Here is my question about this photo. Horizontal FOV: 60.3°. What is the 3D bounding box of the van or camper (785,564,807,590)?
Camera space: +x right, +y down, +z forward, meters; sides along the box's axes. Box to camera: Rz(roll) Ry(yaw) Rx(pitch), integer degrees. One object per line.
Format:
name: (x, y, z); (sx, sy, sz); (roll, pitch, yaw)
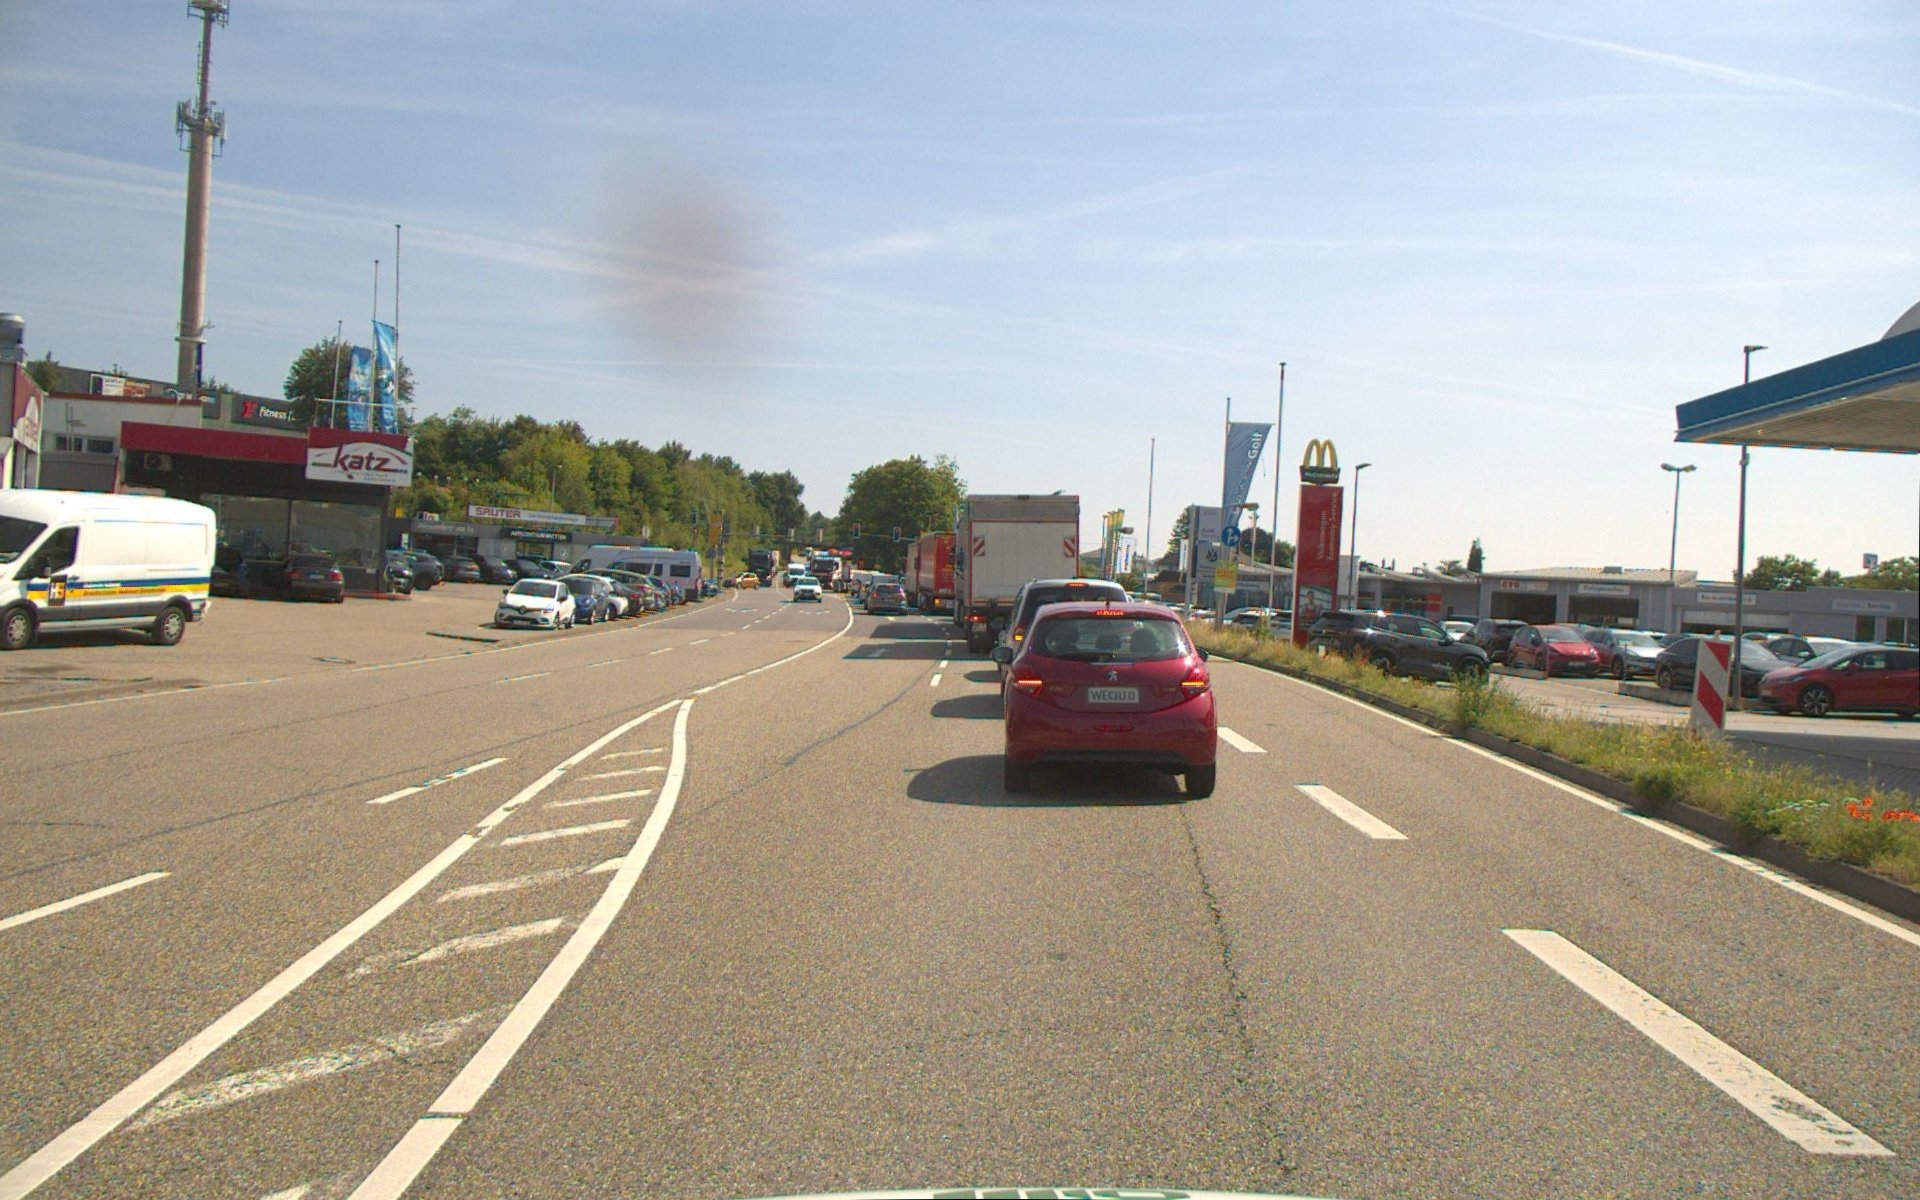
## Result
van or camper: (-17.319, -2.404, 174.432); (2.131, 2.595, 4.167); (3, 1, -5)

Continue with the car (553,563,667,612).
car: (-14.151, -0.518, 67.086); (4.196, 1.510, 1.834); (6, 0, -6)

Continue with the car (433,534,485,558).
car: (-32.818, -3.541, 108.323); (1.724, 1.476, 3.687); (3, 0, -45)

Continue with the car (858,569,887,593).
car: (-5.944, -1.273, 112.485); (1.691, 1.545, 3.312); (3, 0, 1)

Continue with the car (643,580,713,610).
car: (-16.191, -0.299, 95.100); (3.742, 1.566, 1.841); (2, 1, -5)

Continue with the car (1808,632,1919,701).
car: (23.880, 1.700, 43.059); (1.581, 1.622, 3.860); (1, 0, -1)

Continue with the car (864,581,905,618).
car: (-3.500, -0.044, 77.423); (1.754, 1.667, 3.503); (2, 0, -1)

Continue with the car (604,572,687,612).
car: (-15.029, -0.403, 79.269); (3.637, 1.510, 1.706); (6, 1, -6)

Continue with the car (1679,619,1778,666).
car: (25.497, 1.374, 55.001); (1.526, 1.434, 3.688); (1, 0, -1)

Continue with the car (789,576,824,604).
car: (-9.777, -0.634, 105.496); (1.896, 1.703, 3.999); (0, 0, -1)

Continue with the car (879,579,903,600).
car: (-5.410, -0.795, 130.169); (1.693, 1.545, 3.309); (3, 0, -5)

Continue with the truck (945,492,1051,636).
truck: (1.100, -1.215, 59.311); (2.832, 4.340, 16.705); (2, 1, -2)

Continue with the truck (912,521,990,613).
truck: (-0.684, -1.726, 88.108); (2.899, 4.344, 16.571); (2, 1, -4)

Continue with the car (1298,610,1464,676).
car: (9.680, 0.964, 38.026); (3.538, 1.434, 1.551); (0, 0, -25)

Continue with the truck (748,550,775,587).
truck: (-21.210, -3.340, 176.476); (2.760, 3.852, 6.978); (1, 1, -8)

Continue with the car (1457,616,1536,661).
car: (18.655, 1.324, 57.608); (1.526, 1.434, 3.595); (1, 0, -1)

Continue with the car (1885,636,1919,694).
car: (25.847, 1.721, 42.827); (1.581, 1.468, 3.860); (1, 0, -1)

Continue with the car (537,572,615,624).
car: (-12.994, -0.099, 56.214); (1.744, 1.519, 3.780); (6, 0, -2)

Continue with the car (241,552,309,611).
car: (-23.534, -0.654, 56.745); (1.680, 1.789, 3.727); (6, -1, -28)

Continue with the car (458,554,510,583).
car: (-28.342, -1.905, 98.507); (1.750, 1.616, 3.779); (1, 1, -37)

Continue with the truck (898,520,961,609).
truck: (-2.177, -2.297, 108.965); (3.002, 5.311, 16.994); (2, 1, -4)

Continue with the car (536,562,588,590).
car: (-24.464, -1.479, 101.713); (1.750, 1.616, 3.779); (1, 1, -37)

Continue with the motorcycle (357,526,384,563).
motorcycle: (-21.438, -2.006, 60.127); (0.760, 1.283, 2.040); (1, 1, -24)

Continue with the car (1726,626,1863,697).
car: (21.337, 1.542, 42.450); (1.526, 1.622, 3.860); (1, 0, -1)

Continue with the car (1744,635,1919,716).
car: (19.872, 1.678, 36.948); (3.822, 1.599, 1.807); (2, 0, 3)

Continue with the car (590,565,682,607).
car: (-14.535, -0.636, 74.442); (3.771, 1.510, 1.800); (6, 0, -6)

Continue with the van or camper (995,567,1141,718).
van or camper: (1.401, 0.512, 23.254); (1.711, 1.818, 5.134); (3, 0, 1)

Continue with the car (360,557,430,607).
car: (-22.141, -0.710, 64.722); (1.802, 1.703, 4.089); (8, -3, -28)

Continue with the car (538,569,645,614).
car: (-13.714, -0.317, 61.703); (3.636, 1.552, 1.790); (1, 1, -6)

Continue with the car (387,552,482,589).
car: (-23.963, -1.365, 75.495); (3.891, 1.559, 1.754); (1, 1, -27)

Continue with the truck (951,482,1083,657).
truck: (1.268, -0.762, 43.125); (2.821, 3.877, 11.140); (2, 1, -1)

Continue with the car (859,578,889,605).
car: (-5.360, -0.511, 102.527); (1.693, 1.545, 3.309); (3, 0, -5)

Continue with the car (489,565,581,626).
car: (-12.575, -0.154, 49.177); (1.743, 1.646, 3.999); (3, 0, -2)

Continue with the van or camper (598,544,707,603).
van or camper: (-15.791, -1.356, 85.150); (5.141, 2.779, 2.209); (2, 1, -3)

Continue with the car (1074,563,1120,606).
car: (6.150, -0.677, 74.425); (1.952, 1.780, 4.002); (3, 0, 4)

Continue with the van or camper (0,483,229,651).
van or camper: (-15.207, -0.593, 27.796); (2.109, 2.541, 5.955); (6, 1, 11)

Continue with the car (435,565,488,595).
car: (-29.028, -1.179, 96.172); (1.750, 1.616, 3.779); (1, 1, -37)

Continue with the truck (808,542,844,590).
truck: (-12.388, -3.139, 153.495); (2.897, 4.282, 10.641); (0, 1, -3)

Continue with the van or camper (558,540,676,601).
van or camper: (-18.084, -1.581, 87.413); (5.776, 2.923, 2.288); (2, 1, -4)

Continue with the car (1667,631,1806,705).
car: (19.139, 1.642, 40.936); (1.581, 1.622, 3.860); (1, 0, -1)

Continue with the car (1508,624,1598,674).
car: (18.879, 1.532, 52.811); (1.526, 1.434, 3.595); (1, 0, -1)

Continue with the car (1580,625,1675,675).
car: (21.295, 1.571, 52.897); (1.526, 1.434, 3.595); (1, 0, -1)

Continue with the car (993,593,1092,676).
car: (1.589, 0.636, 33.105); (1.700, 1.453, 4.225); (3, 0, 0)

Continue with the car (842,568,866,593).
car: (-8.605, -1.567, 134.824); (1.692, 1.942, 3.311); (3, 0, -1)

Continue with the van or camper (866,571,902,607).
van or camper: (-4.360, -0.628, 94.416); (1.816, 1.939, 3.781); (3, 1, -5)

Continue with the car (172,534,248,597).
car: (-22.650, -1.064, 49.885); (1.832, 1.530, 3.967); (6, 1, -27)

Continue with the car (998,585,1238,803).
car: (1.247, 0.685, 14.146); (1.763, 1.599, 3.715); (1, 0, 2)

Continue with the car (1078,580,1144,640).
car: (4.856, 0.324, 53.572); (1.952, 1.780, 4.002); (3, 0, 4)

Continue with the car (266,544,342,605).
car: (-20.436, -0.818, 51.420); (1.831, 1.530, 4.362); (5, 2, -26)

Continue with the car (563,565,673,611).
car: (-14.777, -0.532, 71.621); (4.374, 1.510, 1.770); (6, 0, -6)

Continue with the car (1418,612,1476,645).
car: (22.162, 1.279, 75.358); (1.526, 1.434, 3.595); (1, 0, -1)

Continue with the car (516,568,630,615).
car: (-13.862, -0.310, 59.425); (3.722, 1.552, 1.844); (2, 1, -6)

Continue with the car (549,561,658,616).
car: (-13.853, -0.452, 64.410); (3.812, 1.746, 1.804); (6, 0, -6)

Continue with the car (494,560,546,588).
car: (-26.658, -1.590, 100.242); (1.750, 1.616, 3.779); (1, 1, -37)
